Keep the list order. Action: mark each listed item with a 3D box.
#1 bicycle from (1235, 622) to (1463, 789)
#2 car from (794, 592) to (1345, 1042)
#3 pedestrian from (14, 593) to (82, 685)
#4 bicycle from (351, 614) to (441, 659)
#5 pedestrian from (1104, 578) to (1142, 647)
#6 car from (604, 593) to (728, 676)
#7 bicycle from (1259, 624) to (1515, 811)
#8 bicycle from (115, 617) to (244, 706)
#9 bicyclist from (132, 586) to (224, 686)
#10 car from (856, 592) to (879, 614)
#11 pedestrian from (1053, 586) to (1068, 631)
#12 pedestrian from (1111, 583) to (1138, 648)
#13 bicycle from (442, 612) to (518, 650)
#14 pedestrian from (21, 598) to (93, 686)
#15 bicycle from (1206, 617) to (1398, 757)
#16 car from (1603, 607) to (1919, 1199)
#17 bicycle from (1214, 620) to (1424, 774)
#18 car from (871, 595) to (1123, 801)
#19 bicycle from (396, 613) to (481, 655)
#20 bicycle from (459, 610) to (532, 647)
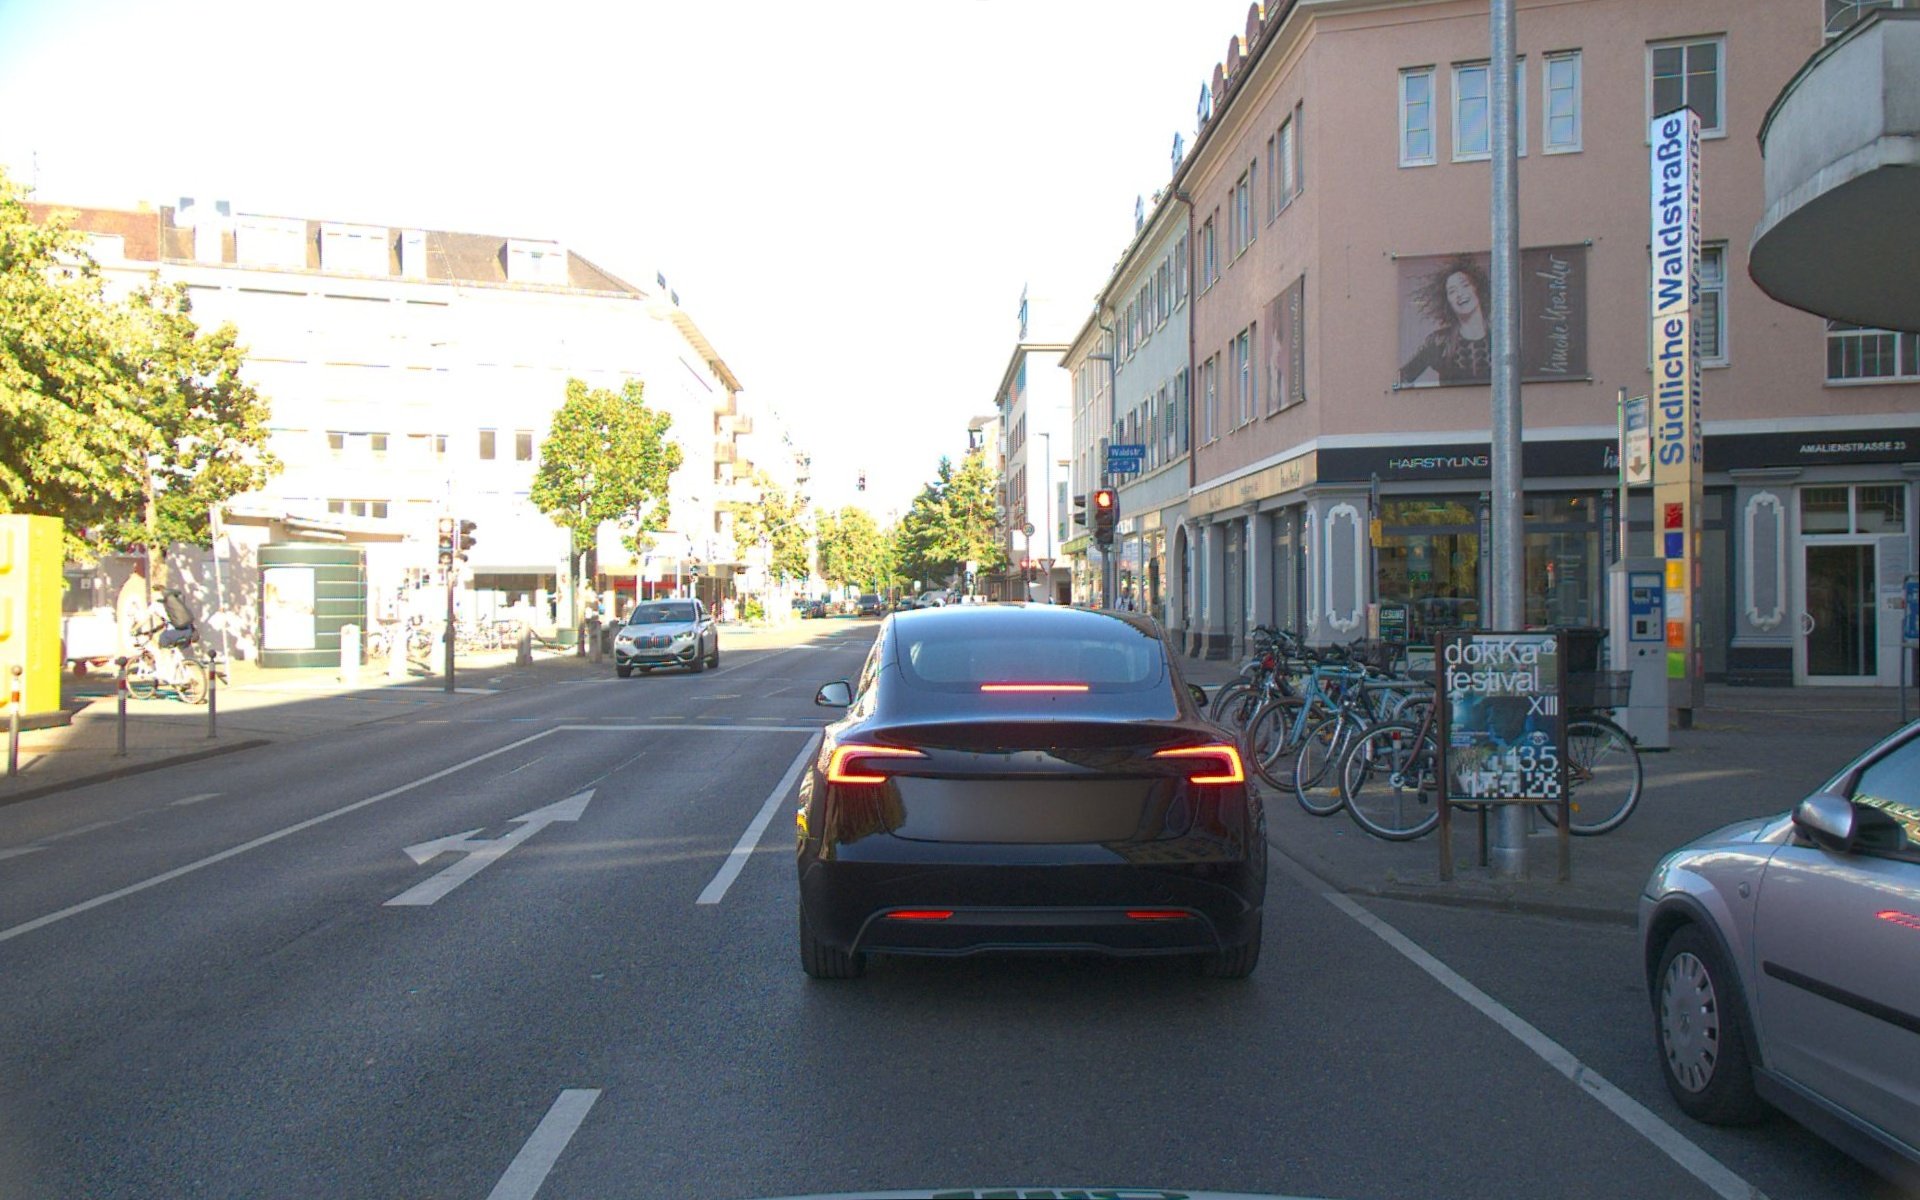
[{"bbox_3d":[2.934,0.787,12.527,1.595,1.180,0.432,-2,0,-2],"label":"bicycle"},{"bbox_3d":[0.362,0.712,7.341,1.812,1.480,3.786,0,0,0],"label":"car"},{"bbox_3d":[-17.697,0.752,32.094,0.882,1.755,0.744,0,0,3],"label":"pedestrian"},{"bbox_3d":[-14.458,0.927,42.448,2.040,1.123,0.806,0,0,-1],"label":"bicycle"},{"bbox_3d":[4.530,0.343,45.962,0.979,1.883,0.615,0,0,-1],"label":"pedestrian"},{"bbox_3d":[-6.330,0.705,36.026,1.953,1.567,3.999,-4,0,-1],"label":"car"},{"bbox_3d":[2.885,0.783,11.231,1.595,1.180,0.432,-2,0,-2],"label":"bicycle"},{"bbox_3d":[-11.633,0.899,24.661,1.732,1.254,0.798,0,0,23],"label":"bicycle"},{"bbox_3d":[-11.665,0.527,24.676,0.984,1.460,0.798,0,0,24],"label":"bicyclist"},{"bbox_3d":[-7.565,0.231,135.405,1.793,1.754,3.998,0,0,-2],"label":"car"},{"bbox_3d":[3.841,0.314,63.233,0.559,1.720,0.387,0,0,-1],"label":"pedestrian"},{"bbox_3d":[4.578,0.432,45.994,0.689,1.814,0.533,0,0,-1],"label":"pedestrian"},{"bbox_3d":[-14.434,0.933,49.743,2.040,1.123,0.806,0,0,-1],"label":"bicycle"},{"bbox_3d":[-17.505,0.804,32.083,0.966,1.665,0.737,0,0,3],"label":"pedestrian"},{"bbox_3d":[3.048,0.768,14.795,1.594,1.180,0.433,-2,0,0],"label":"bicycle"},{"bbox_3d":[2.909,0.740,3.499,1.588,1.419,3.886,0,0,0],"label":"car"},{"bbox_3d":[2.932,0.781,13.560,1.595,1.180,0.432,-2,0,-2],"label":"bicycle"},{"bbox_3d":[0.266,0.702,13.818,1.812,1.480,3.786,0,0,0],"label":"car"},{"bbox_3d":[-14.165,0.915,44.972,2.040,1.123,0.806,0,0,-1],"label":"bicycle"},{"bbox_3d":[-14.577,0.892,51.934,2.040,1.123,0.806,0,0,-1],"label":"bicycle"}]
